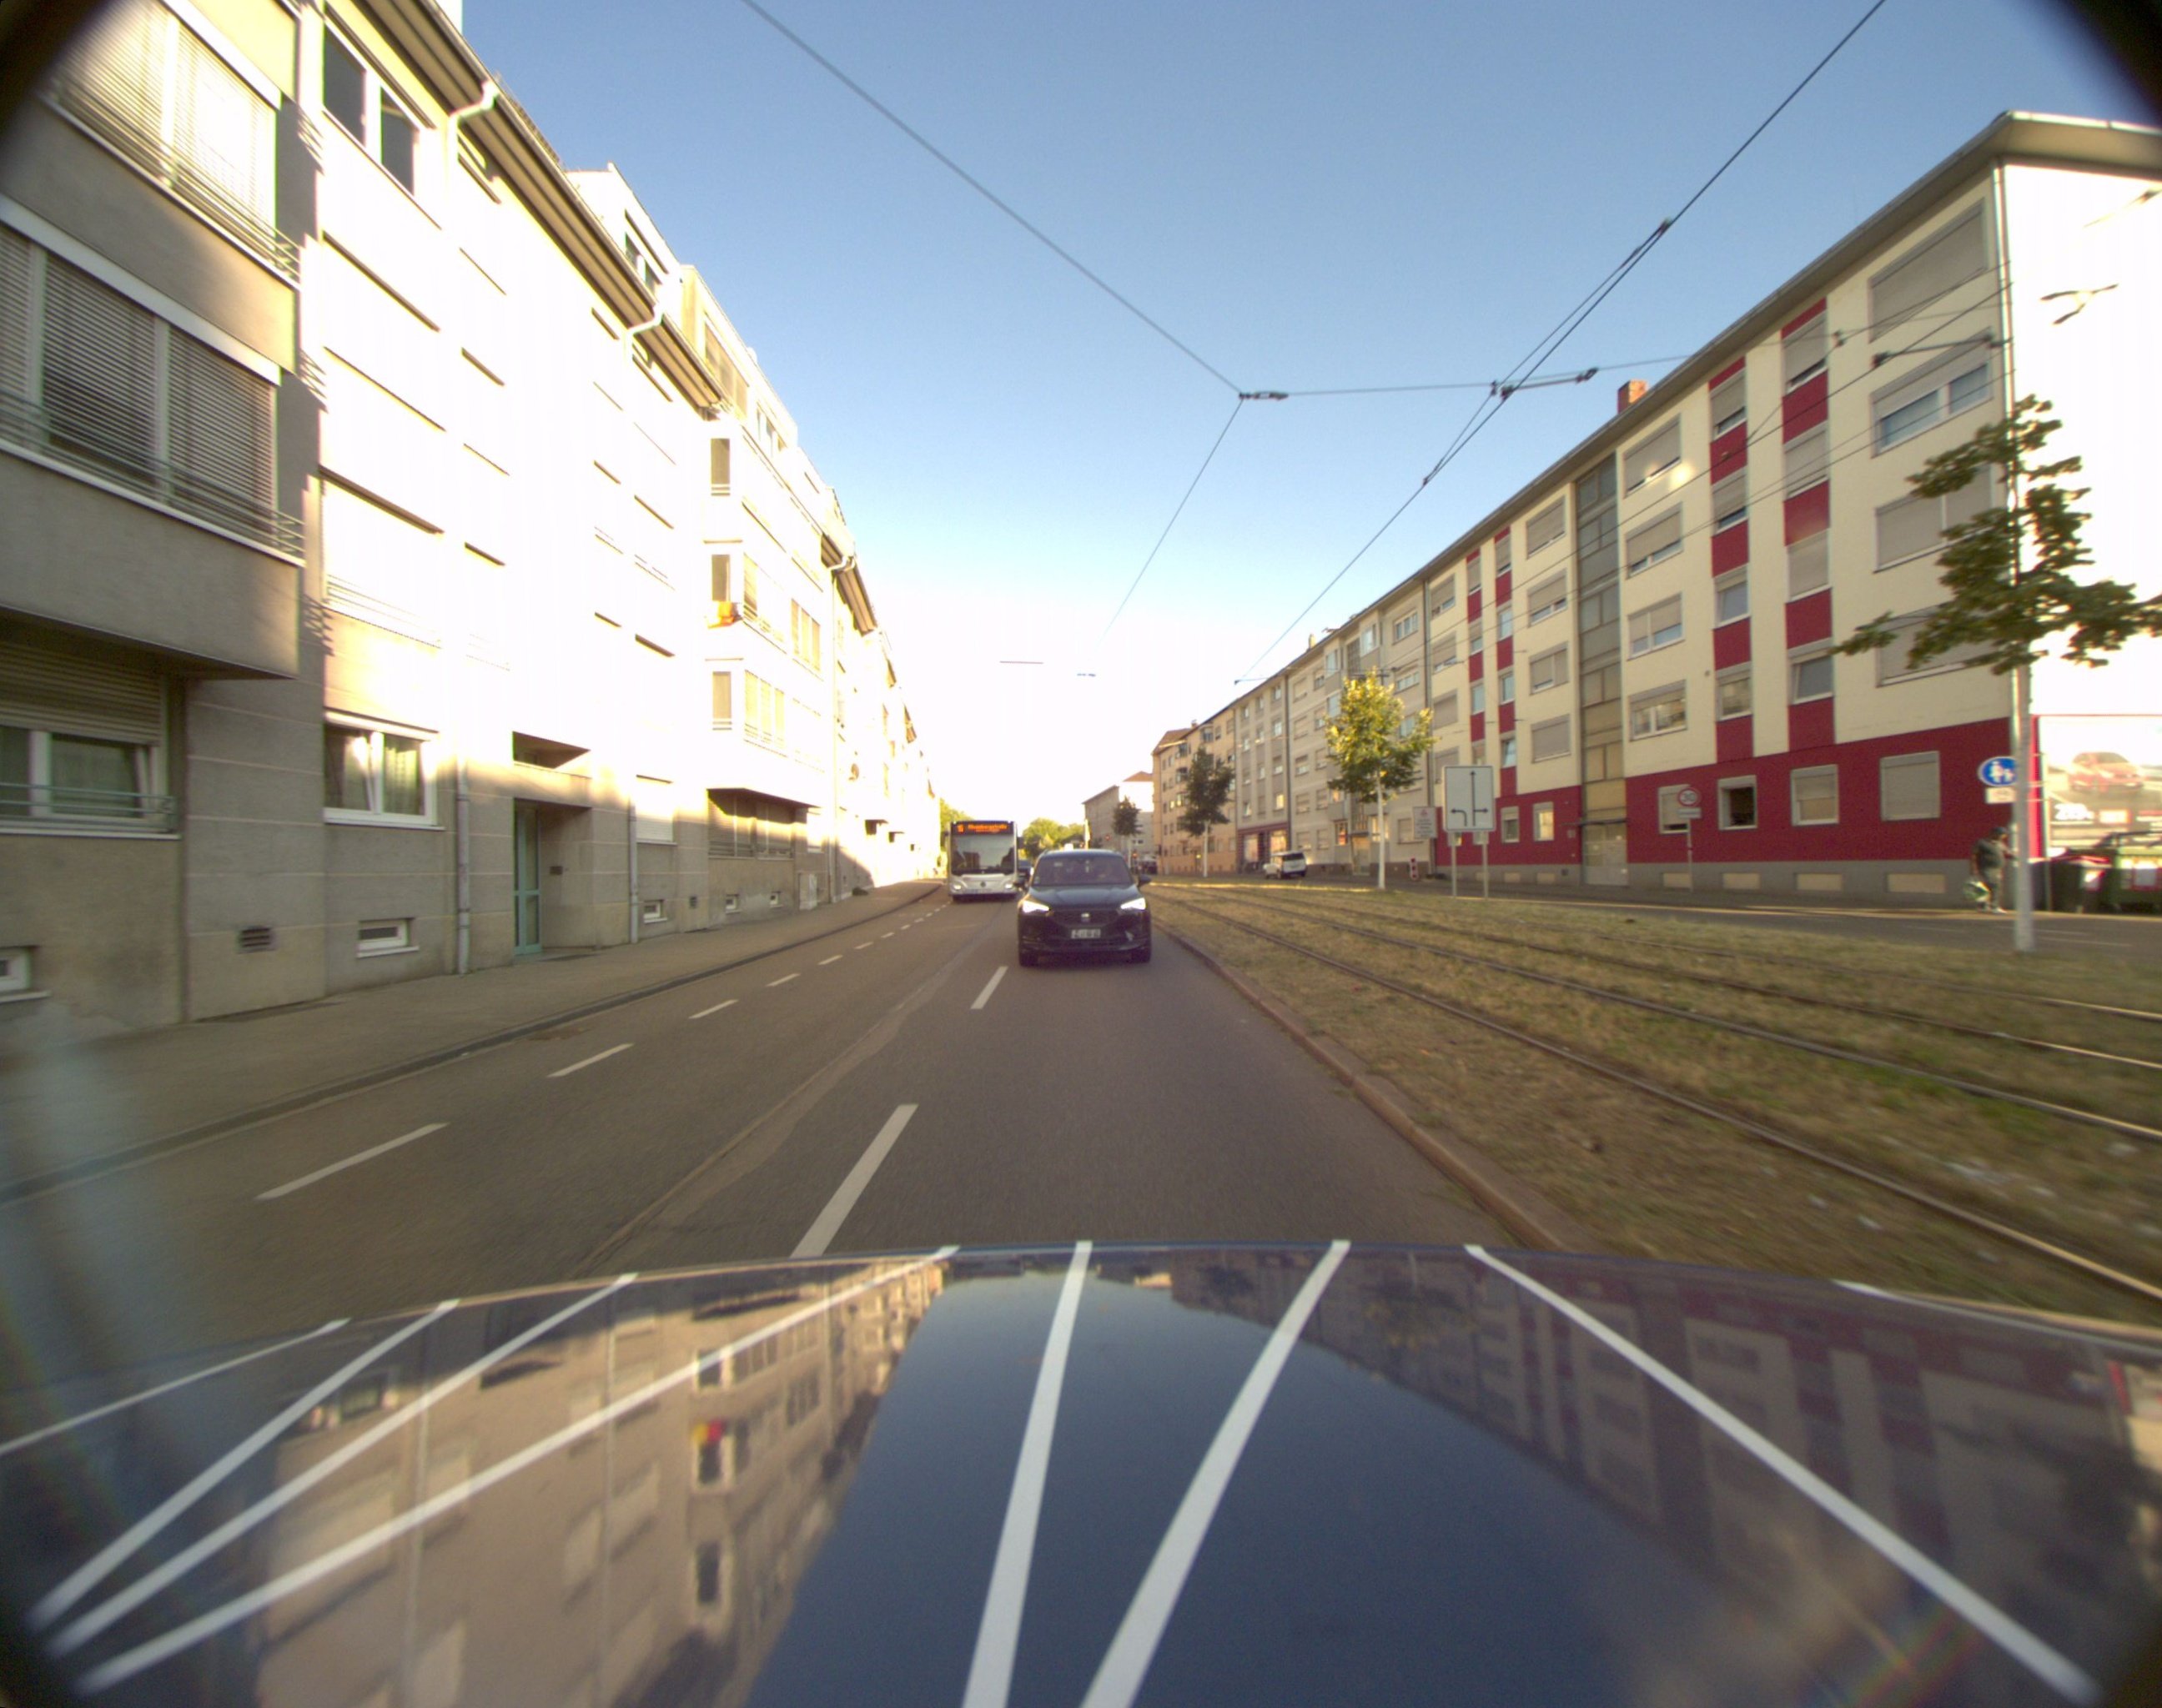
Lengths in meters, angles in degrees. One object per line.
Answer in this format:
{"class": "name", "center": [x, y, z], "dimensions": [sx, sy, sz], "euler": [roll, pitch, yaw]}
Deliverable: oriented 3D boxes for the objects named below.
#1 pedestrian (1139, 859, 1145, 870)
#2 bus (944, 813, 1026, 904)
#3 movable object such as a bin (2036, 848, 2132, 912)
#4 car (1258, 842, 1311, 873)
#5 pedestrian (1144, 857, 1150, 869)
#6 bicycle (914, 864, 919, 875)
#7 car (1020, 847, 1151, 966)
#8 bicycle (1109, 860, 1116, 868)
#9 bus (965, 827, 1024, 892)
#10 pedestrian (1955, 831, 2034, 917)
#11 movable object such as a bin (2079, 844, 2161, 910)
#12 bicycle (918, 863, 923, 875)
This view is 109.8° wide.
{"class": "pedestrian", "center": [8.665, 1.483, 108.005], "dimensions": [0.624, 1.481, 0.582], "euler": [-1, 1, -9]}
{"class": "bus", "center": [-3.784, 0.191, 31.789], "dimensions": [2.732, 3.059, 10.596], "euler": [-2, 0, -5]}
{"class": "movable object such as a bin", "center": [19.891, 0.508, 15.081], "dimensions": [0.868, 1.219, 0.806], "euler": [-1, 1, -3]}
{"class": "car", "center": [13.847, 0.214, 52.059], "dimensions": [1.872, 1.819, 4.419], "euler": [-7, 1, -6]}
{"class": "pedestrian", "center": [9.406, 1.276, 107.593], "dimensions": [0.634, 1.760, 0.826], "euler": [-1, 0, 18]}
{"class": "bicycle", "center": [-14.495, 1.356, 66.897], "dimensions": [0.279, 0.965, 1.729], "euler": [2, -1, -9]}
{"class": "car", "center": [0.043, 0.773, 12.941], "dimensions": [1.788, 1.614, 4.216], "euler": [-3, -1, -1]}
{"class": "bicycle", "center": [5.511, 1.671, 132.679], "dimensions": [0.580, 1.370, 3.234], "euler": [-1, 0, -9]}
{"class": "bus", "center": [-4.653, 0.300, 42.383], "dimensions": [2.713, 3.059, 10.596], "euler": [-2, 0, -5]}
{"class": "pedestrian", "center": [18.405, 0.391, 15.324], "dimensions": [0.615, 1.679, 0.791], "euler": [-2, 0, -4]}
{"class": "movable object such as a bin", "center": [21.007, 0.445, 15.156], "dimensions": [1.161, 1.278, 0.806], "euler": [-1, 1, -3]}
{"class": "bicycle", "center": [-14.135, 1.316, 66.929], "dimensions": [0.361, 1.026, 1.729], "euler": [2, -1, -9]}
